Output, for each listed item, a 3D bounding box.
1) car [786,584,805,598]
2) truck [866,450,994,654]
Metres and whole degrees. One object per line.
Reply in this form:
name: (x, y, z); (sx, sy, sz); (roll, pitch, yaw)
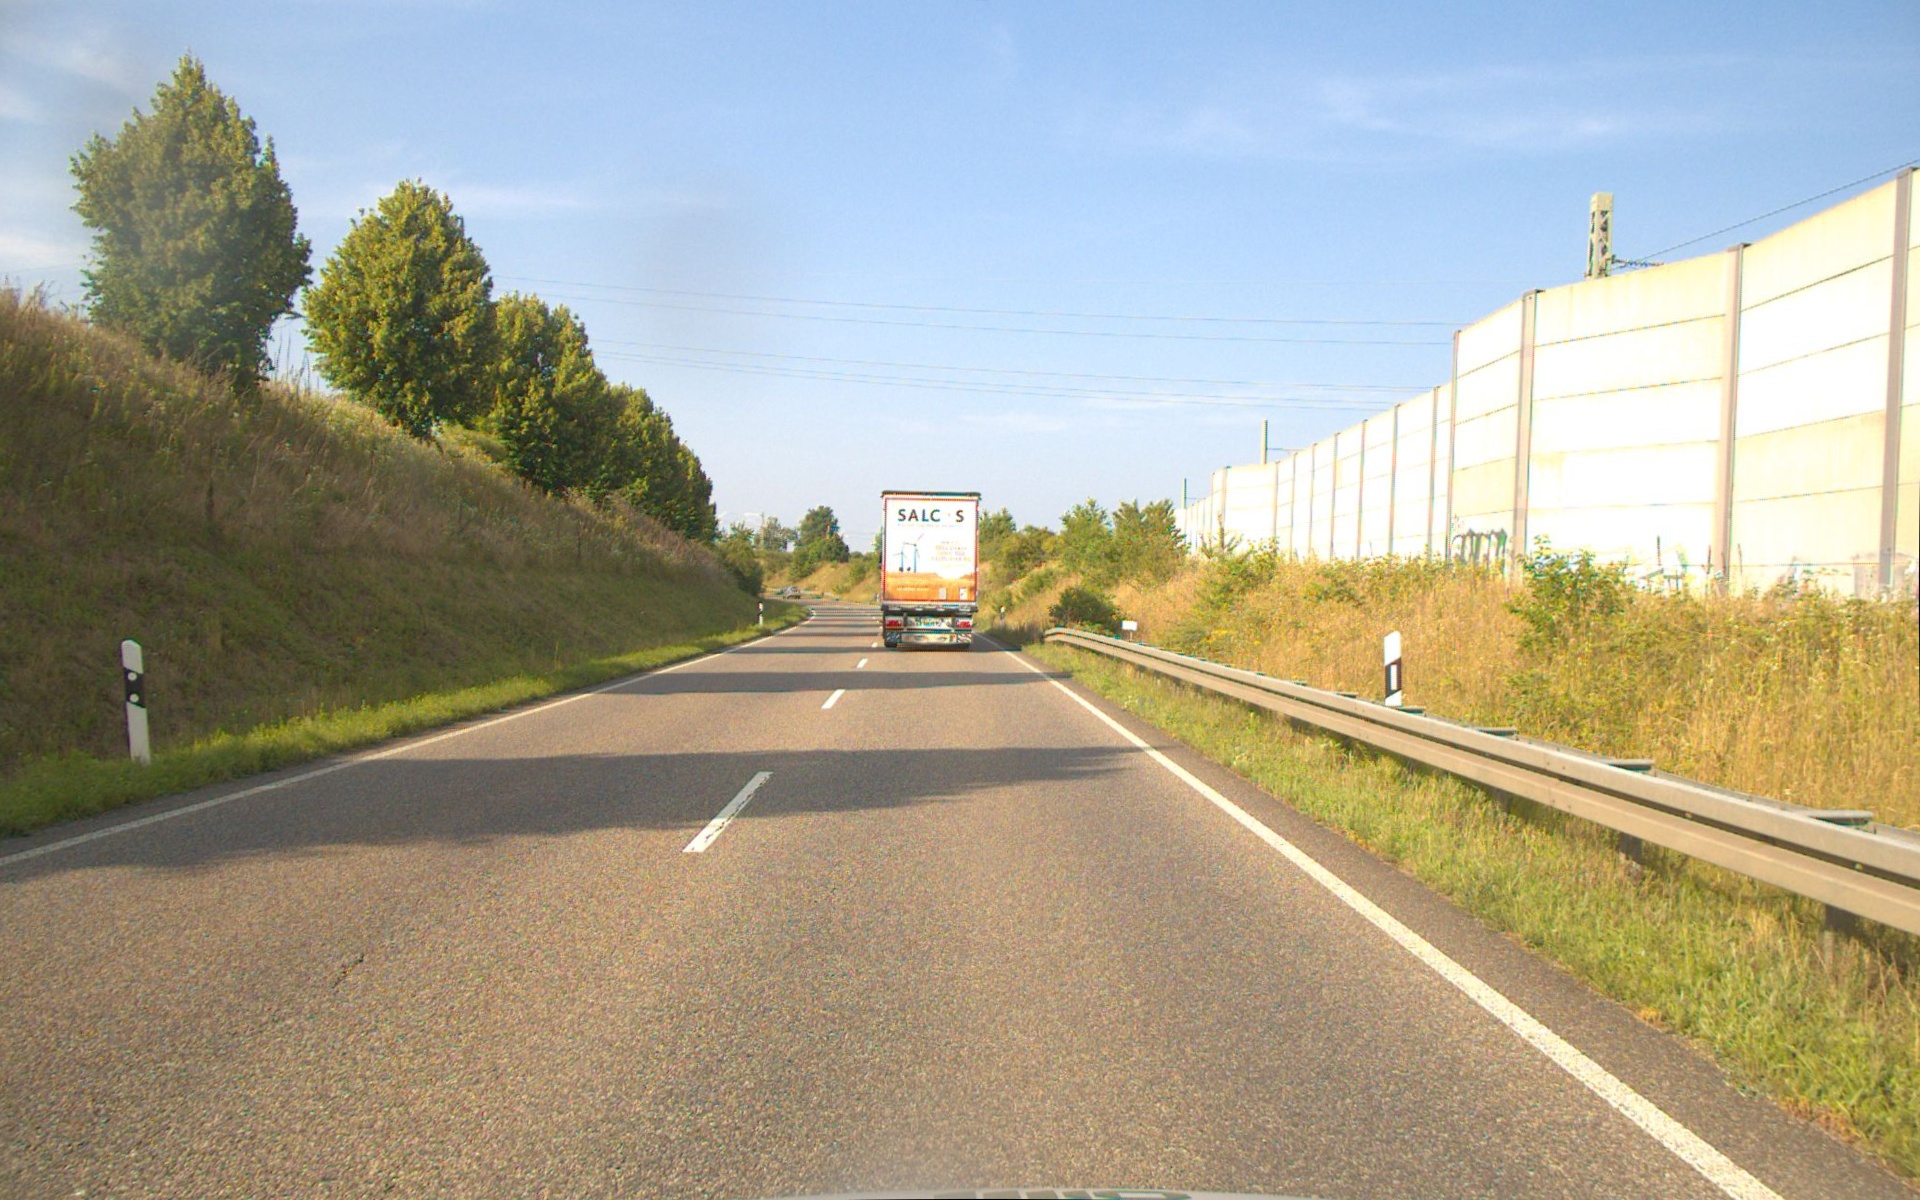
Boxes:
car: (-20.684, -1.141, 208.277); (2.004, 1.609, 4.359); (1, 0, 0)
truck: (-0.983, -1.323, 48.349); (3.224, 5.178, 12.033); (1, 1, -2)
